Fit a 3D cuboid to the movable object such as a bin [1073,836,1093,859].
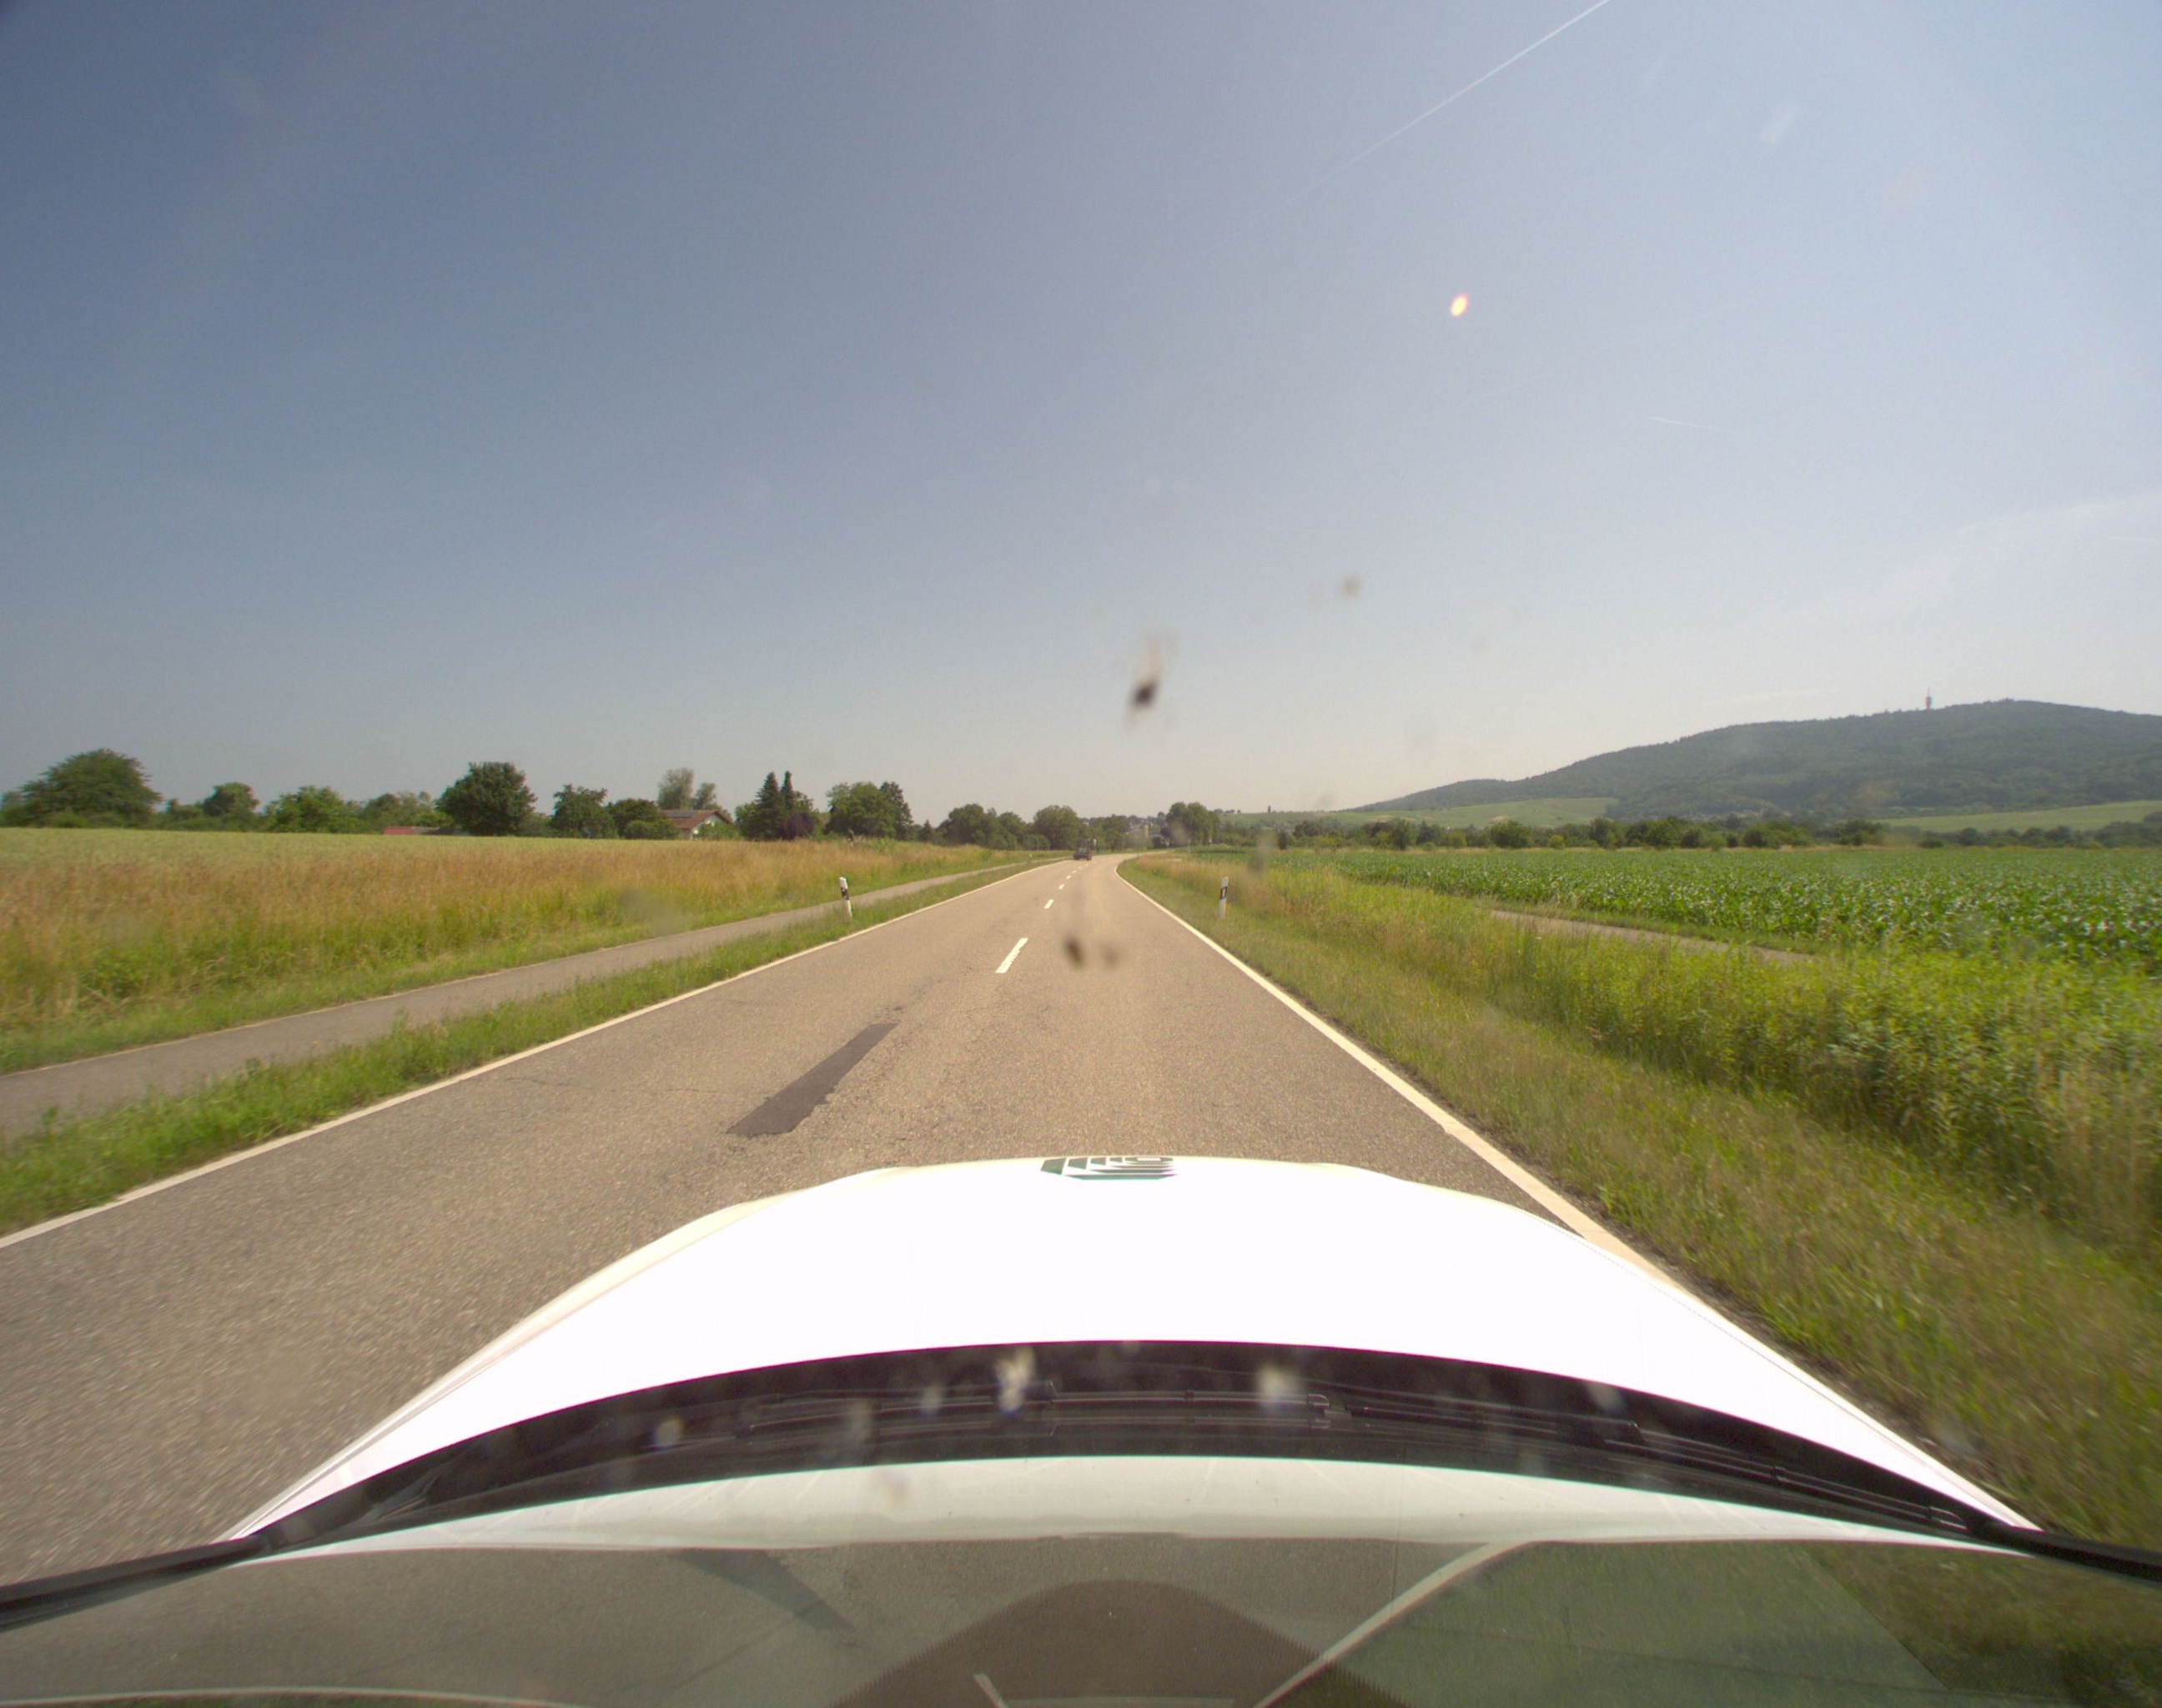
[{"bbox_3d":[0.252,-0.857,102.009,1.992,2.754,5.236,3,1,4],"label":"movable object such as a bin"}]
